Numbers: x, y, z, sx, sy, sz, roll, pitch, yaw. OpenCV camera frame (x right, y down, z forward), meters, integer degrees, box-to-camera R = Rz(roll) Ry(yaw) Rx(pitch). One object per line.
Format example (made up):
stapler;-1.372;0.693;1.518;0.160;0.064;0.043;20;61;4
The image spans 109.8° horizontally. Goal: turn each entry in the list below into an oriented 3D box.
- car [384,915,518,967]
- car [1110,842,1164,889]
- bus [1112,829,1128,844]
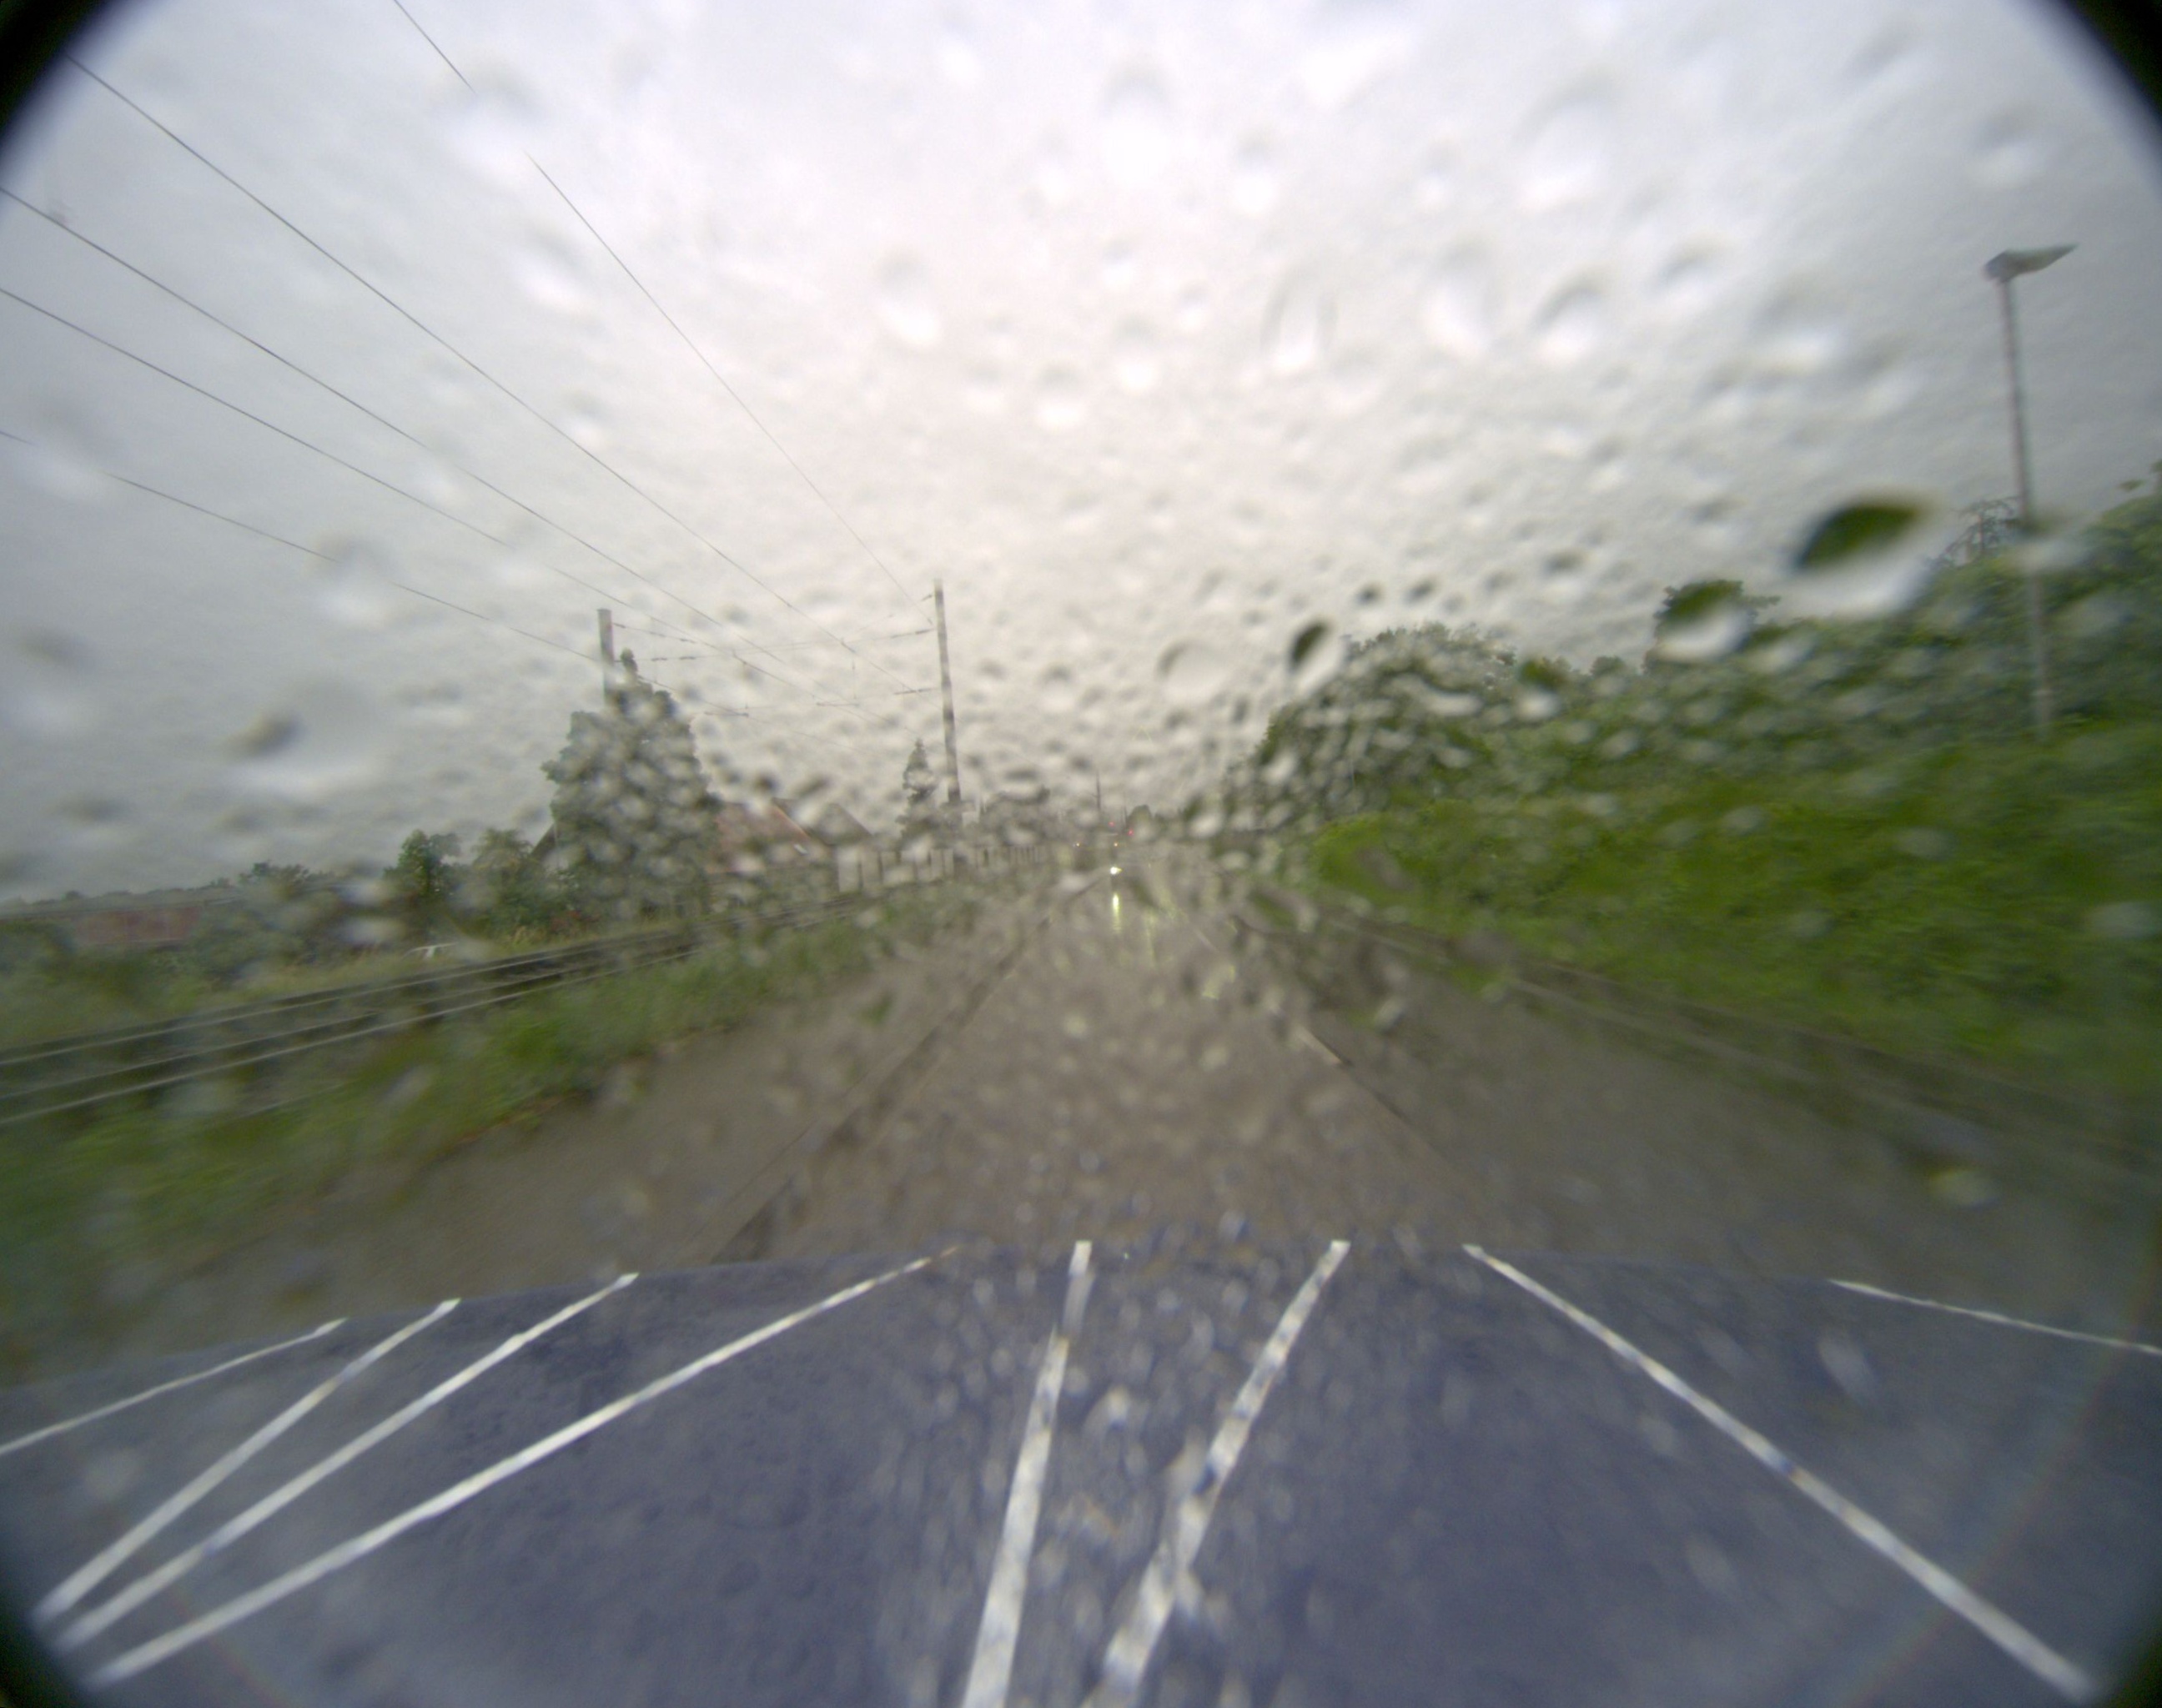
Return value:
car;-25.533;3.523;30.838;4.189;1.629;1.879;-5;2;13
car;2.449;0.440;32.495;1.998;1.623;4.000;-5;2;7
bus;8.776;-4.036;170.942;2.677;3.060;9.990;-5;2;-1
